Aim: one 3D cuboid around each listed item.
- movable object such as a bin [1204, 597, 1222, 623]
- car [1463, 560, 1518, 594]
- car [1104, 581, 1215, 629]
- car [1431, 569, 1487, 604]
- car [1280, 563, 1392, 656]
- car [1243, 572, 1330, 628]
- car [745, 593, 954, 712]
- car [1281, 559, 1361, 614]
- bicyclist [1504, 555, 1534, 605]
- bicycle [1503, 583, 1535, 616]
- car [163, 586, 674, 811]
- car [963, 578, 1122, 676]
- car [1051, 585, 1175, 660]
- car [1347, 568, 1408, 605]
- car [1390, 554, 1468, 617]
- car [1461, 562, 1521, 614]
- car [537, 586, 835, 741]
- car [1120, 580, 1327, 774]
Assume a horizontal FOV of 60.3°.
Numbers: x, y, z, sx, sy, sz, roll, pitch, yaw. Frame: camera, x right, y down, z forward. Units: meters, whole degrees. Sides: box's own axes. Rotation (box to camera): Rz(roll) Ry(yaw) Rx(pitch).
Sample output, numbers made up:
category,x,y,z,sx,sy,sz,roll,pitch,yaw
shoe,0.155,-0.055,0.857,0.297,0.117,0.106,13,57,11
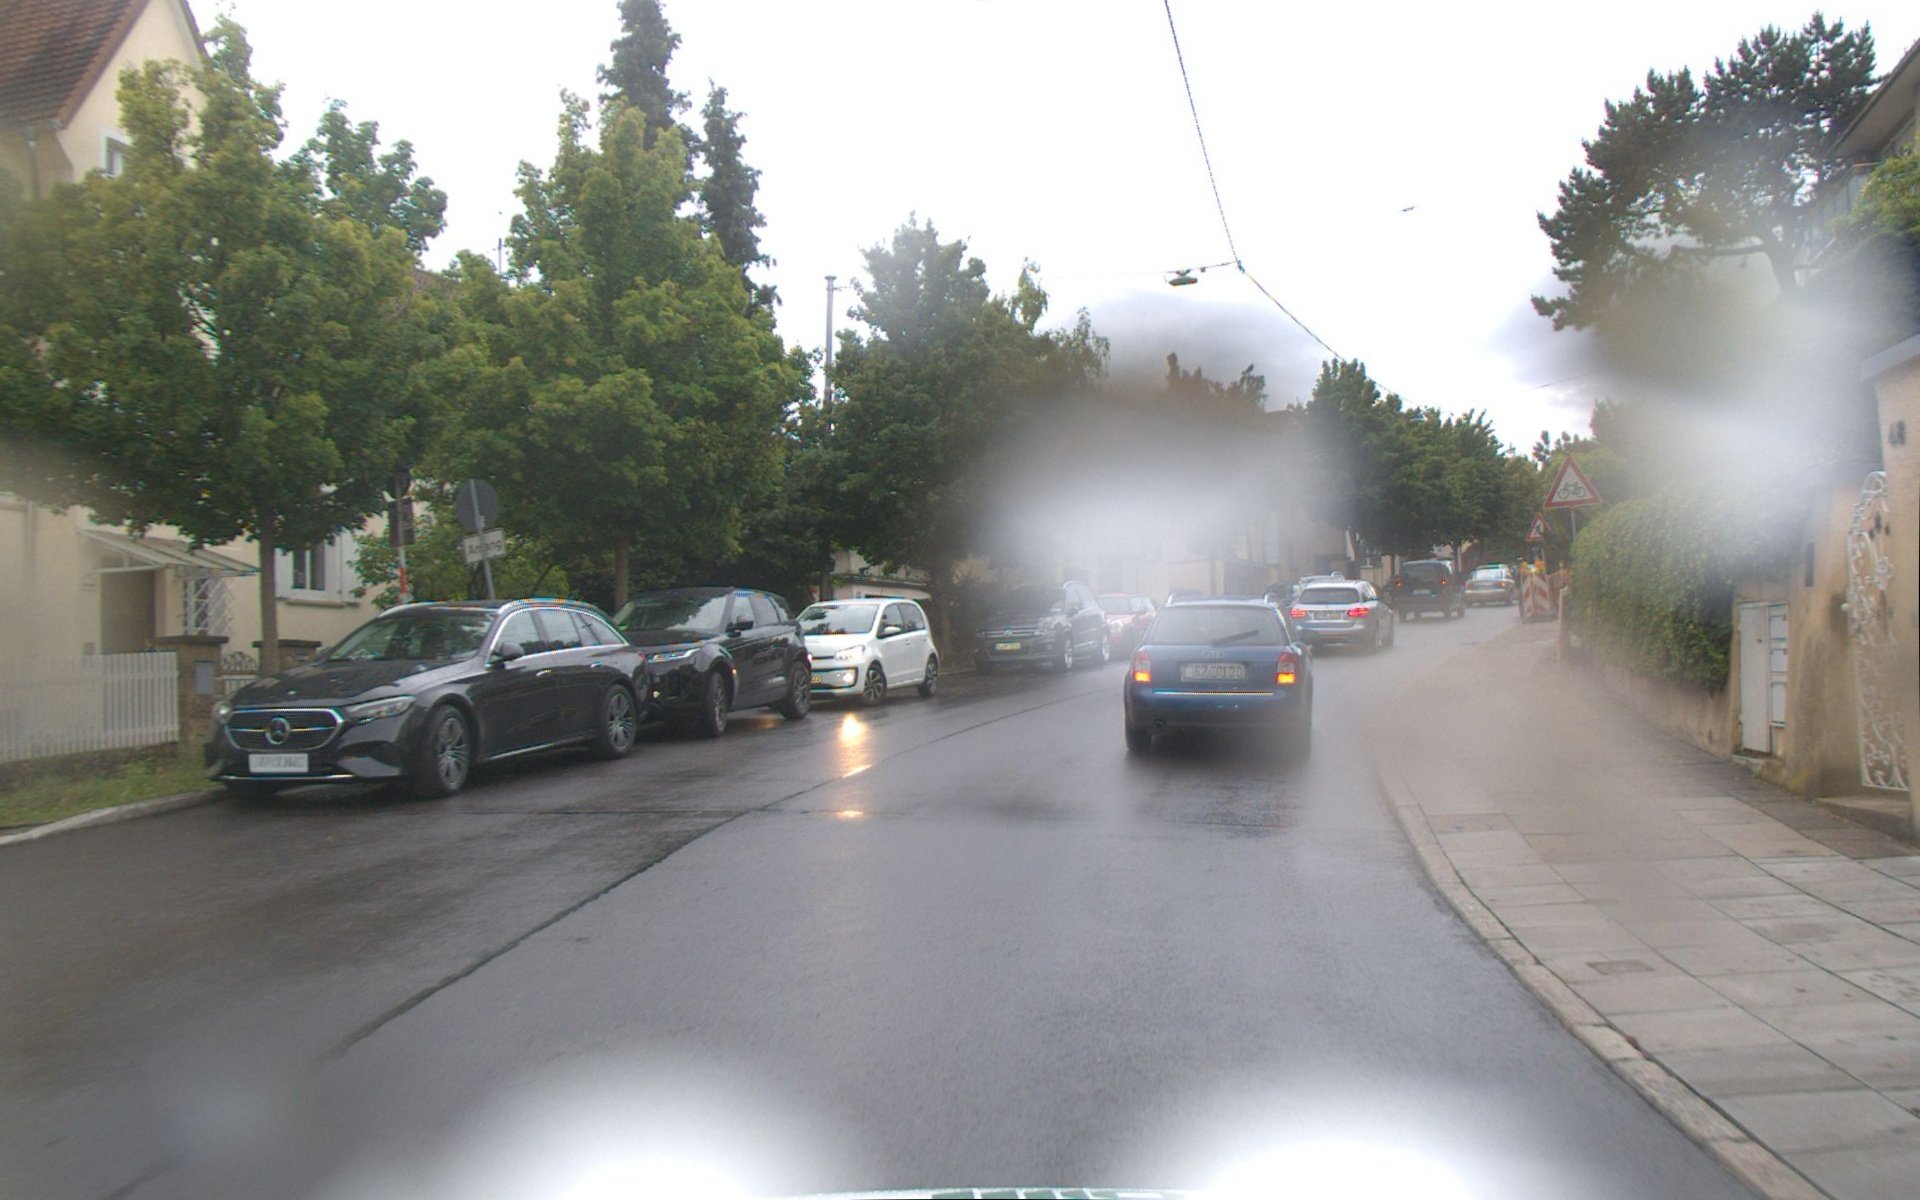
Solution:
category,x,y,z,sx,sy,sz,roll,pitch,yaw
movable object such as a bin,10.385,0.398,67.910,0.575,1.041,0.586,-2,0,24
car,28.980,-1.284,90.230,1.736,1.655,4.680,-5,-1,31
car,7.962,0.206,66.101,3.974,1.675,1.862,-3,-1,26
car,25.460,-0.706,84.289,1.735,1.411,4.627,-5,0,29
car,7.928,0.149,34.650,1.934,1.663,4.239,-1,3,17
car,10.702,-0.016,53.975,1.733,1.561,4.604,-5,0,23
car,-1.478,0.693,23.723,1.697,1.492,4.003,-1,1,16
car,12.923,-0.513,59.041,1.734,1.662,4.106,-7,-1,26
bicyclist,17.545,-0.629,51.939,0.711,1.498,0.885,-3,0,27
bicycle,17.561,-0.028,51.933,0.716,0.981,1.669,-2,1,27
car,-4.301,0.700,14.161,1.827,1.572,4.909,-1,0,14
car,1.697,0.482,32.371,1.764,1.698,4.427,-3,-1,20
car,3.485,0.469,37.095,1.648,1.497,3.865,-4,-1,22
car,18.731,-0.620,74.113,1.733,1.461,4.344,-5,-1,26
car,14.999,-0.489,52.734,1.699,1.799,4.233,-1,3,25
car,20.845,-0.483,64.831,1.699,1.799,4.233,-1,3,25
car,-2.987,0.651,19.002,1.697,1.572,4.213,-1,0,16
car,2.694,0.650,16.201,1.696,1.492,4.005,-1,3,13
